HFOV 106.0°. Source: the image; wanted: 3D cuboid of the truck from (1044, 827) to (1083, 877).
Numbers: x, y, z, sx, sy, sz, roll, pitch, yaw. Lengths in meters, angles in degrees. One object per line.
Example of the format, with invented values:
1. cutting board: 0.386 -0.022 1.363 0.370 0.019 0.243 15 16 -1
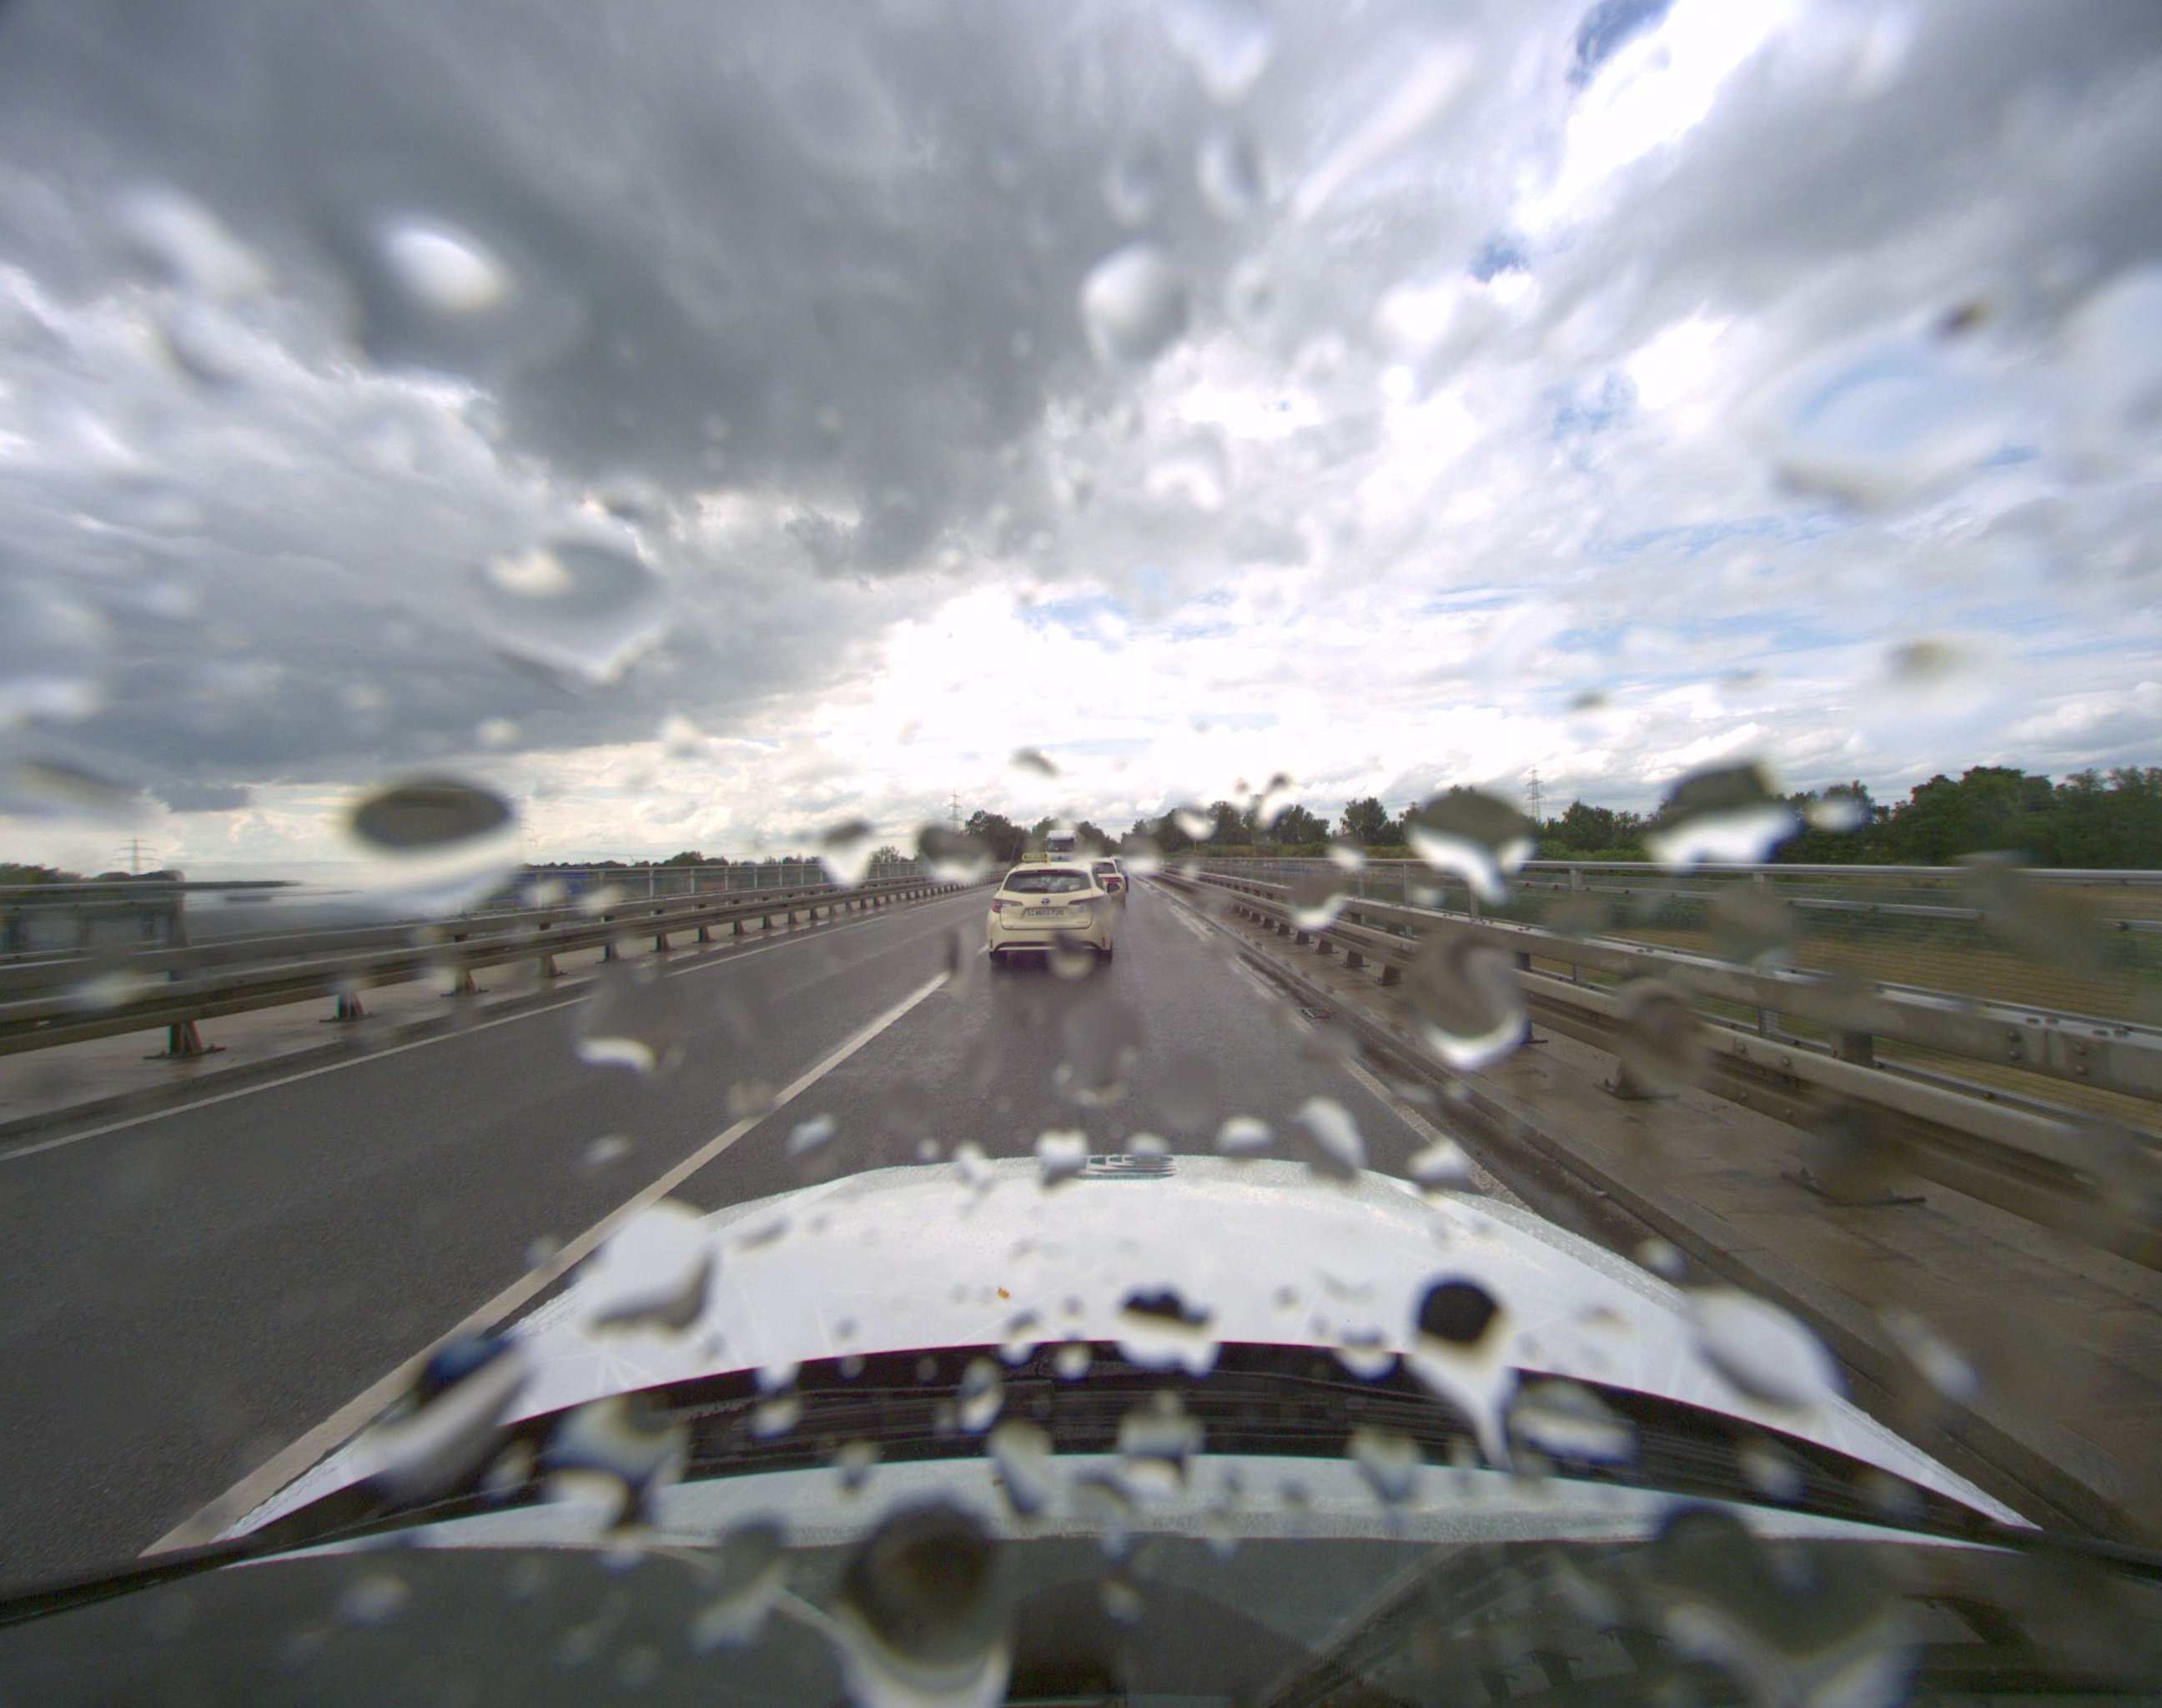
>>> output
1. truck: -1.431 -0.157 71.094 2.672 4.017 10.061 -1 0 2

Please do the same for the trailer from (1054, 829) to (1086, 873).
1. trailer: -1.002 -0.297 80.336 2.672 4.075 8.490 -1 0 2

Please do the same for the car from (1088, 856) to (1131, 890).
1. car: 1.297 0.840 37.211 1.847 1.443 4.173 0 0 2

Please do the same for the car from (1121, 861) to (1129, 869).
1. car: 11.637 2.800 214.804 1.986 2.014 4.001 0 0 1

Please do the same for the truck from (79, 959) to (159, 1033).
1. truck: -73.309 10.622 62.264 2.450 4.001 11.035 0 -1 -42

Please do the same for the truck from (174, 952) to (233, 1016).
1. truck: -75.083 10.987 69.841 2.450 4.001 11.035 0 -1 -42

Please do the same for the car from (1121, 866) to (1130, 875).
1. car: 10.169 3.673 185.655 1.986 2.014 4.001 0 0 1

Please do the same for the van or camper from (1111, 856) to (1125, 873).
1. van or camper: 6.288 1.757 139.397 2.323 2.864 6.309 0 0 2

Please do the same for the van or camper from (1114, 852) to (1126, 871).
1. van or camper: 7.823 1.495 162.085 2.323 3.563 6.309 0 0 2

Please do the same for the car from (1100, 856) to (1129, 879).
1. car: 2.199 0.863 53.315 1.847 1.443 4.173 0 0 2

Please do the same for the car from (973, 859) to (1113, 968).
1. car: -0.421 0.797 12.808 1.847 1.394 4.173 0 0 2

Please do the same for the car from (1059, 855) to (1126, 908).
1. car: 0.402 0.770 24.638 1.847 1.443 4.173 0 0 2
